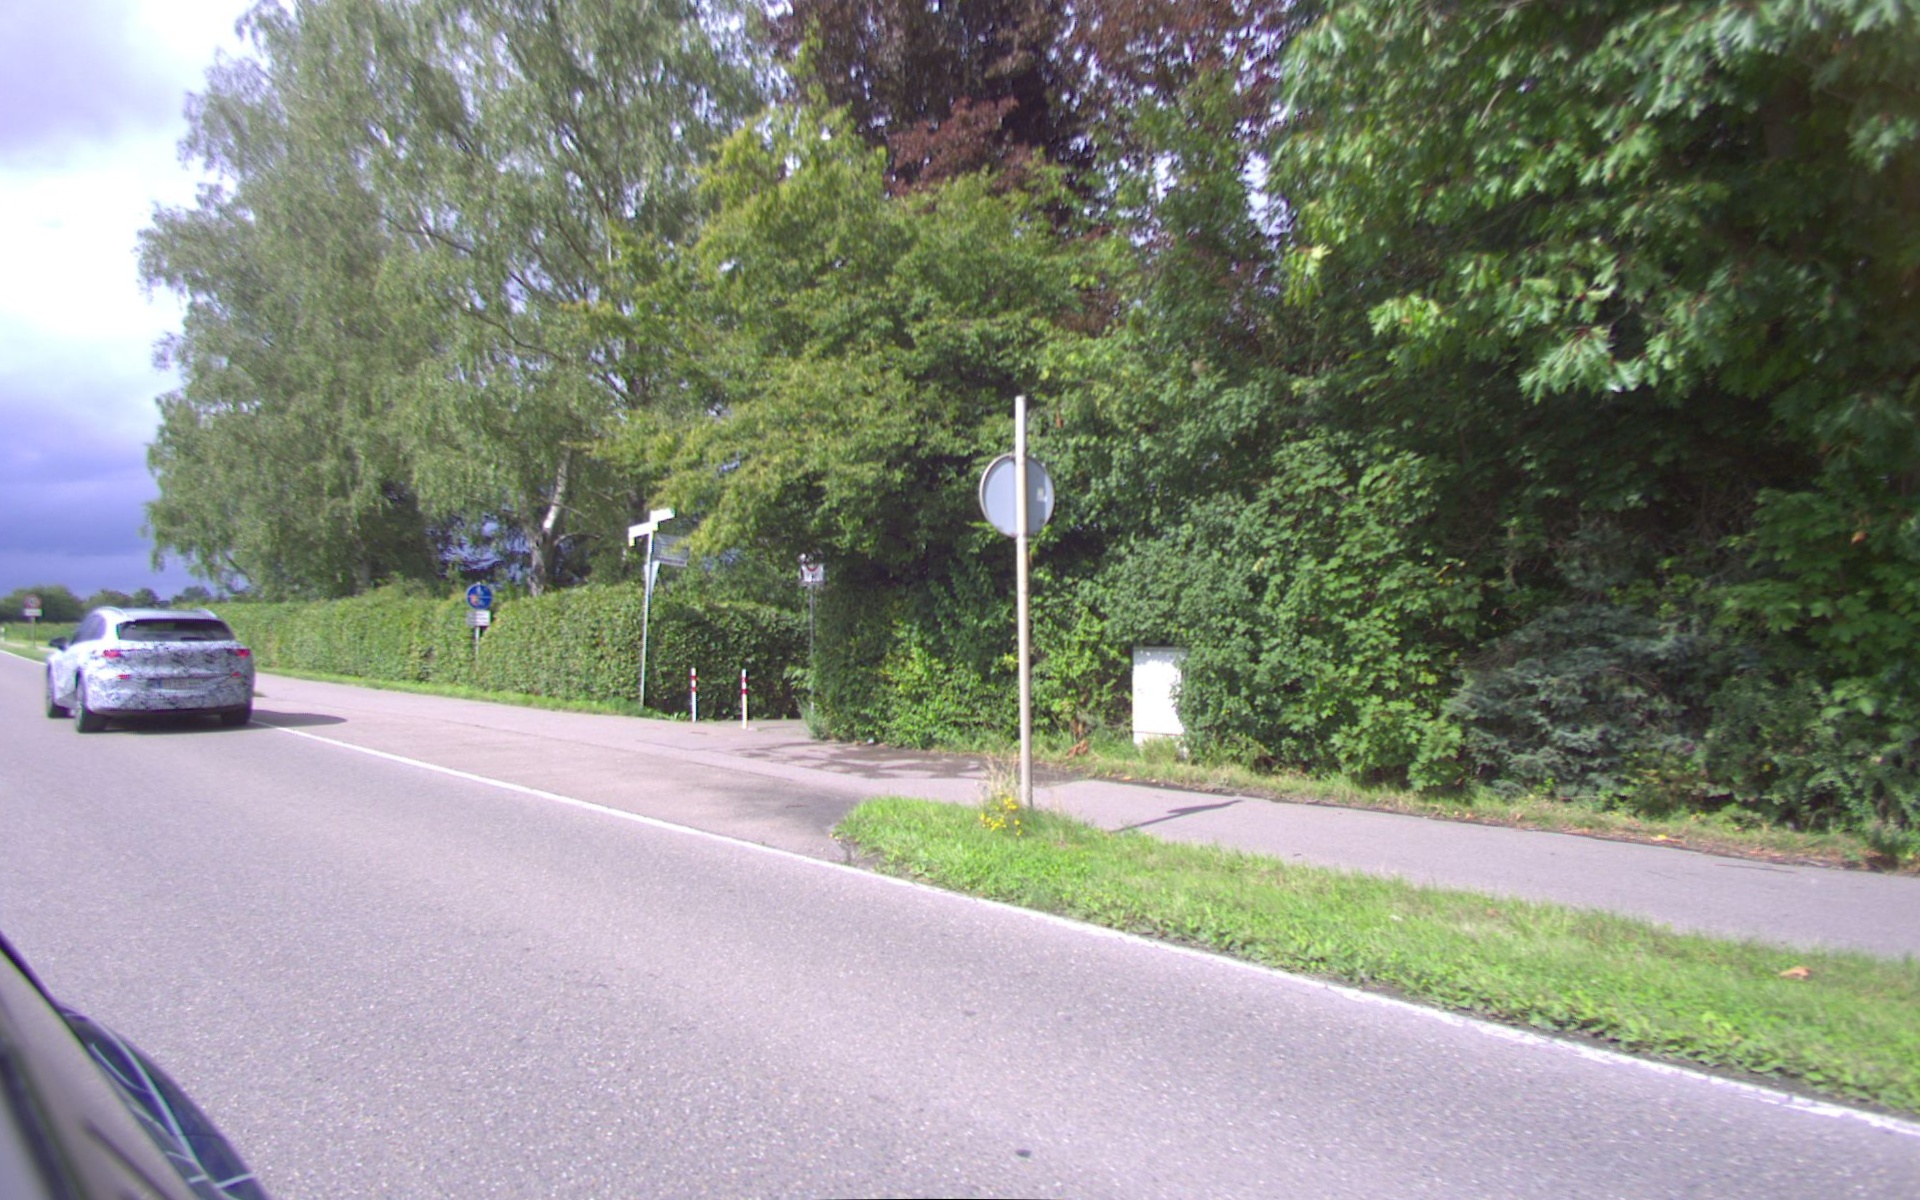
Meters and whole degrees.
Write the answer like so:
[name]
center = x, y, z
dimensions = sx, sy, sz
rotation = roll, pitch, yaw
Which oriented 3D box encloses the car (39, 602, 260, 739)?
[car]
center = -11.625, 0.928, 14.412
dimensions = 4.291, 1.663, 1.791
rotation = -2, -3, 42
